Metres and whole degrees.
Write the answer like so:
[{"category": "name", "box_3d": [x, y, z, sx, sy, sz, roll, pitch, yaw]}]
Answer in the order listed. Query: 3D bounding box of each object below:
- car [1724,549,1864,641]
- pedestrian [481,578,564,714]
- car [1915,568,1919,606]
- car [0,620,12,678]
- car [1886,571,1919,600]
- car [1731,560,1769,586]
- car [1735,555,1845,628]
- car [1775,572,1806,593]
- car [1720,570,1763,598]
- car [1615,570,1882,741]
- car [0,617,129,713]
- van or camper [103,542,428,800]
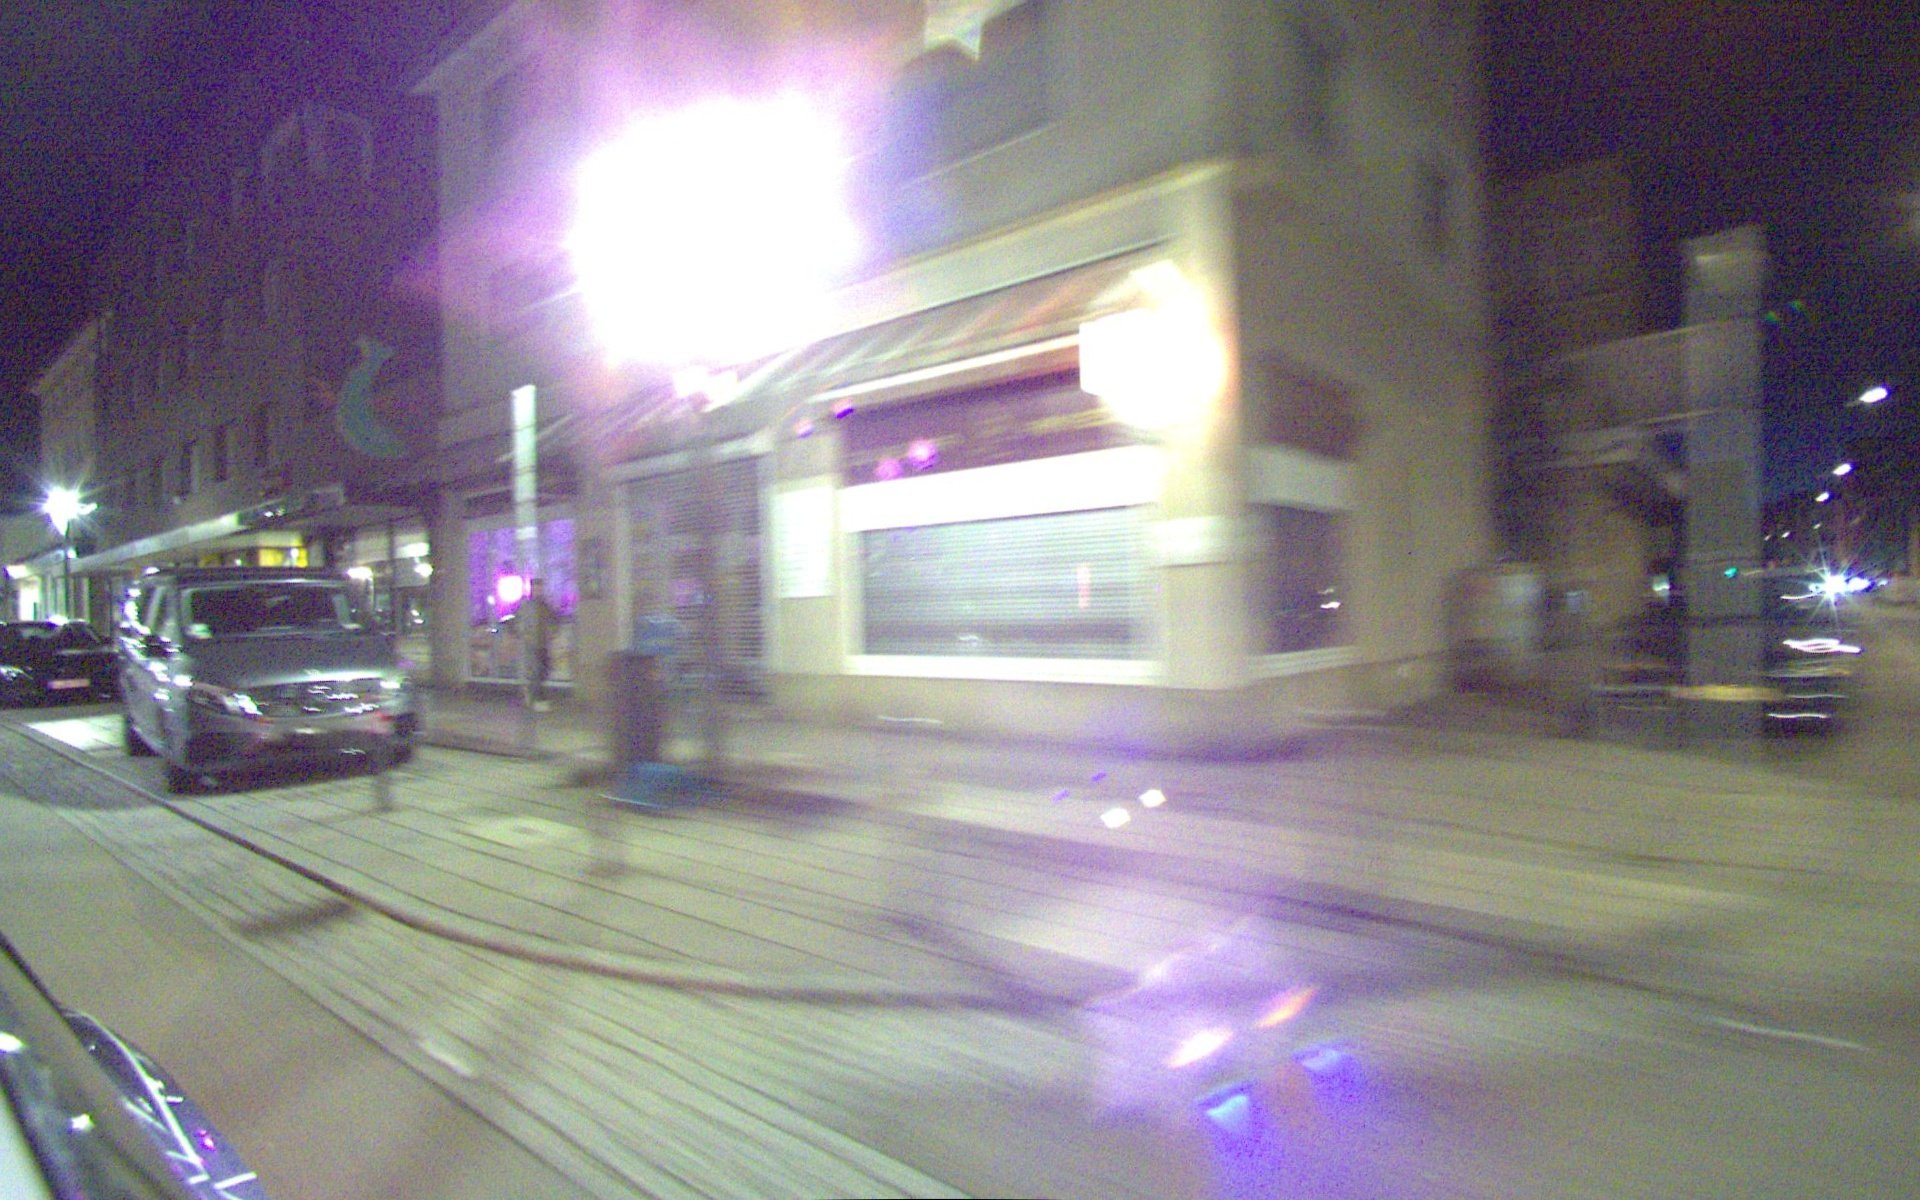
[{"category": "car", "box_3d": [17.265, -0.075, 21.049, 1.998, 1.660, 3.948, -4, -3, 39]}, {"category": "pedestrian", "box_3d": [-5.895, 0.598, 13.639, 1.022, 1.758, 0.615, -1, 0, 41]}, {"category": "car", "box_3d": [36.365, -0.472, 37.131, 1.608, 1.402, 3.632, 0, 1, 38]}, {"category": "car", "box_3d": [-26.848, 1.310, 26.967, 4.317, 1.489, 1.779, -1, 1, 40]}, {"category": "car", "box_3d": [44.810, -0.704, 47.772, 1.387, 1.303, 3.289, 0, 1, 38]}, {"category": "car", "box_3d": [57.118, -1.897, 73.133, 1.998, 1.660, 3.948, -4, -3, 39]}, {"category": "car", "box_3d": [21.552, -0.188, 26.350, 1.998, 1.660, 3.948, -4, -3, 39]}, {"category": "car", "box_3d": [74.538, -1.549, 90.910, 1.998, 1.660, 3.948, -4, -3, 39]}, {"category": "car", "box_3d": [49.925, -0.992, 64.627, 1.998, 1.660, 3.948, -4, -3, 39]}, {"category": "car", "box_3d": [8.319, 0.469, 10.683, 1.778, 1.411, 4.397, -5, -2, 40]}, {"category": "car", "box_3d": [-16.182, 1.069, 17.804, 4.383, 1.423, 1.699, -2, 1, 41]}, {"category": "van or camper", "box_3d": [-7.183, 0.566, 10.179, 1.824, 1.956, 5.157, -2, 0, -44]}]
